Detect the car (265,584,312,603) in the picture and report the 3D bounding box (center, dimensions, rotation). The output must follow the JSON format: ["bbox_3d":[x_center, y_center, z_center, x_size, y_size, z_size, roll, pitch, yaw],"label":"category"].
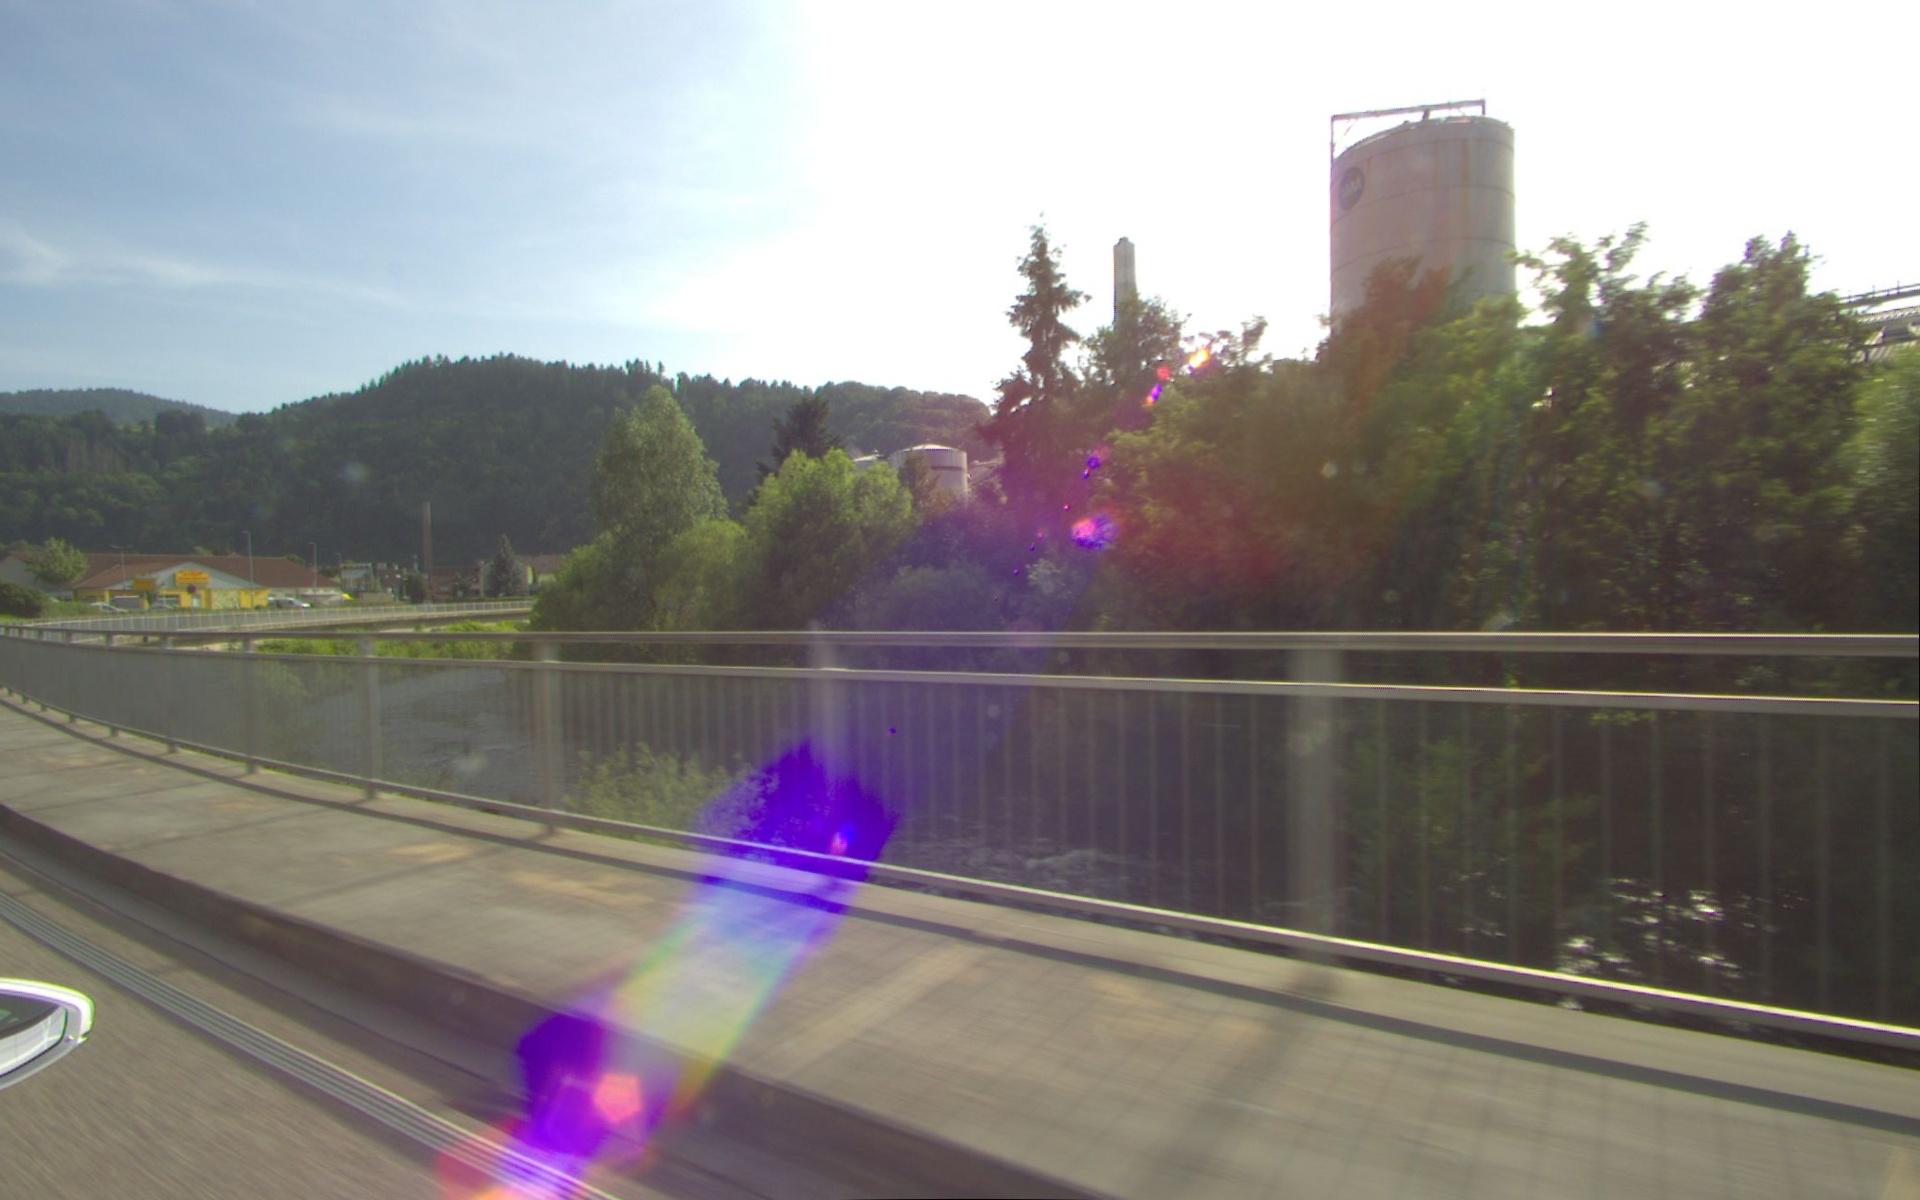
[{"bbox_3d":[-76.877,-0.708,114.643,3.925,2.038,2.001,0,-4,-10],"label":"car"}]
